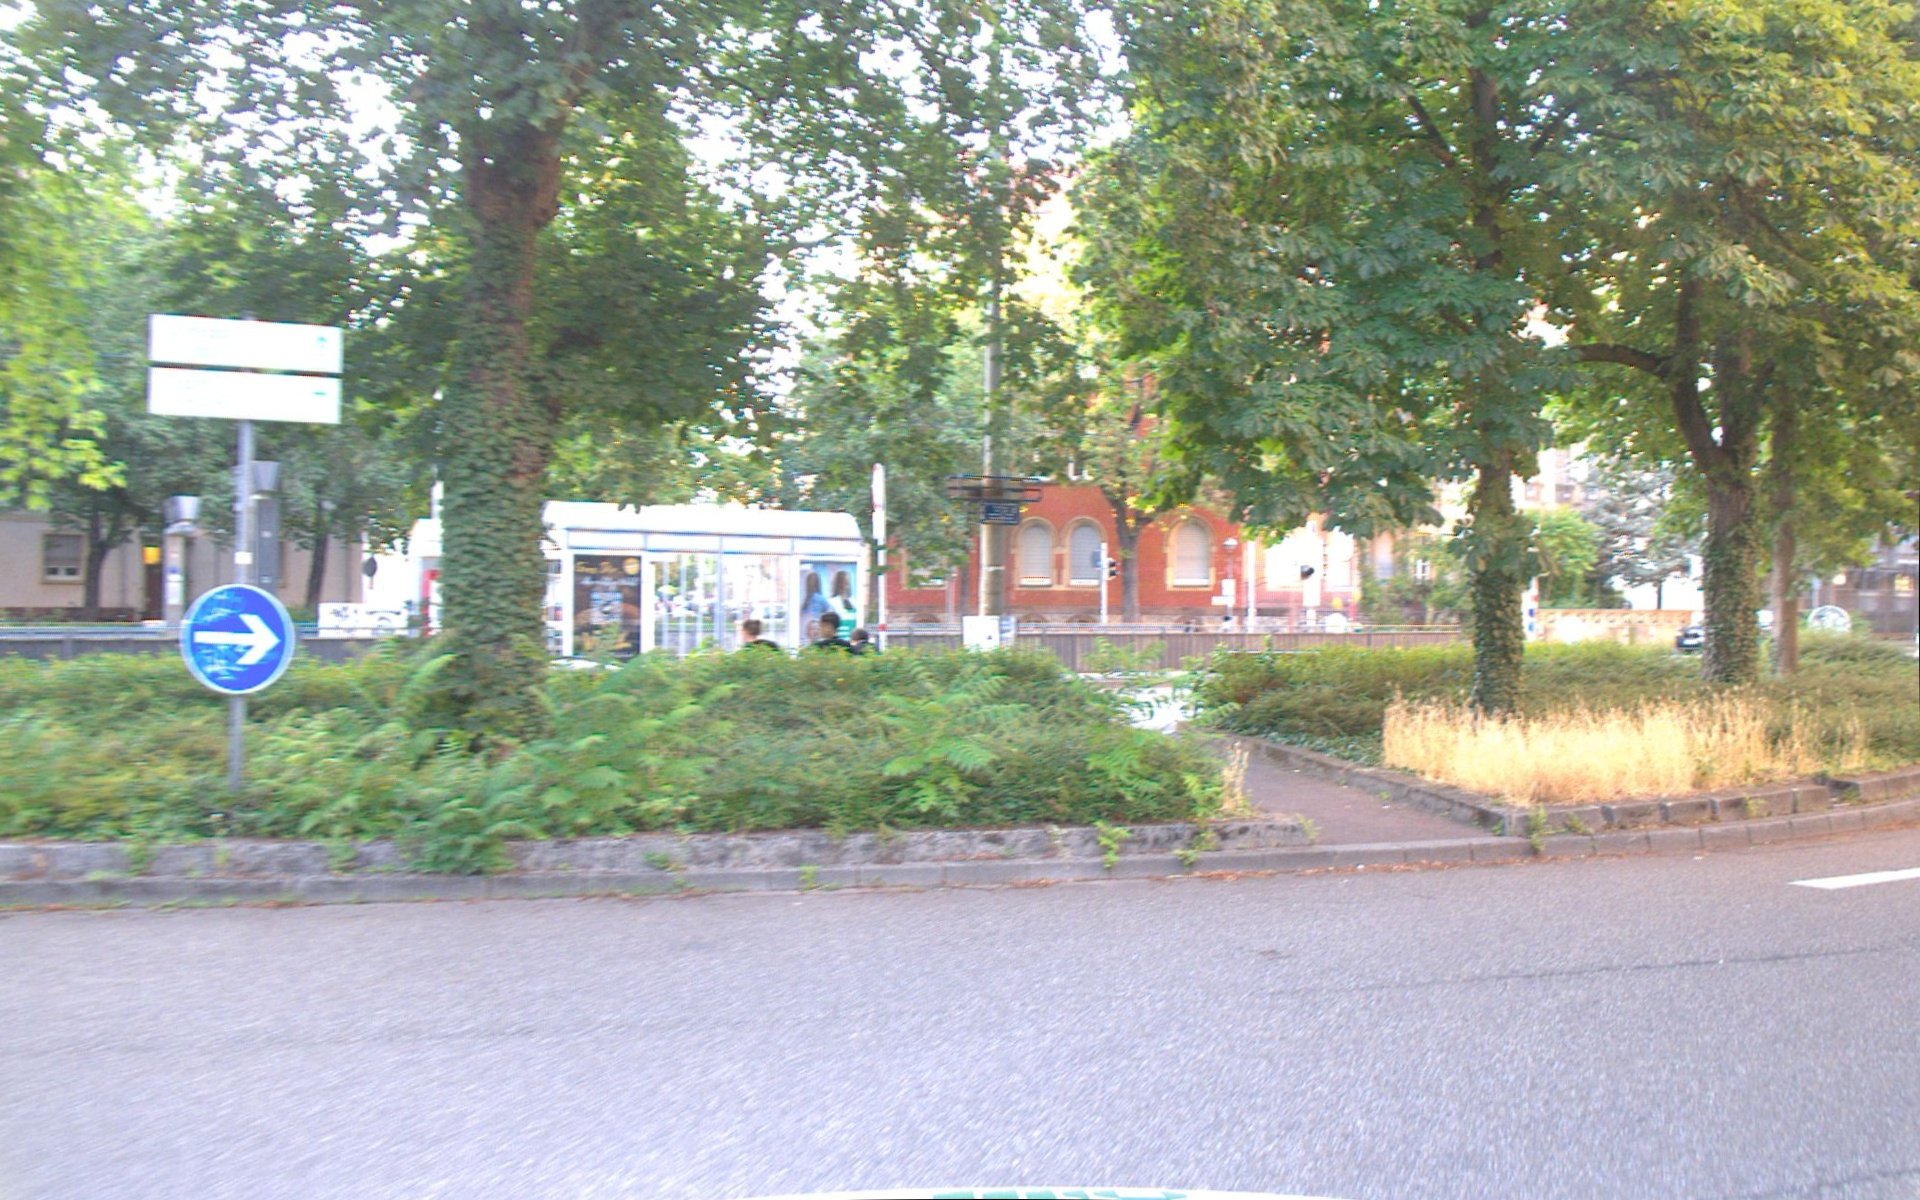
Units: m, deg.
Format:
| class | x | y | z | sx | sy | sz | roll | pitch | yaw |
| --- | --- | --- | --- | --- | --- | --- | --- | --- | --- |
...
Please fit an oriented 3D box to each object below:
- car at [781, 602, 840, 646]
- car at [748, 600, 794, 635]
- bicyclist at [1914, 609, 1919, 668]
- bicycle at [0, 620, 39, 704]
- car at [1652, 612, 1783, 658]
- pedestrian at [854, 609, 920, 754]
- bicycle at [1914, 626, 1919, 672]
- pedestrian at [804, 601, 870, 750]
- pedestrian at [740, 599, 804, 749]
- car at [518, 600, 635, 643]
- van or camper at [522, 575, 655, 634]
| class | x | y | z | sx | sy | sz | roll | pitch | yaw |
| --- | --- | --- | --- | --- | --- | --- | --- | --- | --- |
| car | -6.345 | 0.987 | 69.858 | 1.958 | 1.733 | 4.707 | 2 | -1 | -11 |
| car | -9.822 | 0.897 | 85.782 | 1.958 | 1.733 | 4.707 | 2 | -1 | -11 |
| bicyclist | 23.813 | 0.931 | 40.582 | 0.685 | 1.436 | 0.863 | 0 | 0 | 32 |
| bicycle | -12.911 | 0.801 | 21.296 | 1.831 | 1.070 | 0.540 | 0 | 0 | -32 |
| car | 26.256 | 1.195 | 57.286 | 4.355 | 1.536 | 1.932 | 0 | 0 | -29 |
| pedestrian | -0.760 | 0.829 | 17.118 | 0.605 | 1.456 | 0.654 | 0 | 0 | -9 |
| bicycle | 23.835 | 1.194 | 40.614 | 0.685 | 1.073 | 1.789 | 0 | 0 | 31 |
| pedestrian | -1.243 | 0.742 | 16.596 | 0.605 | 1.456 | 0.654 | 0 | 0 | -9 |
| pedestrian | -1.879 | 0.724 | 16.522 | 0.605 | 1.456 | 0.654 | 0 | 0 | -9 |
| car | -16.669 | 0.931 | 71.973 | 4.867 | 1.733 | 1.992 | 2 | -1 | -15 |
| van or camper | -21.147 | 0.271 | 94.217 | 7.242 | 3.137 | 2.663 | 2 | -1 | -15 |
